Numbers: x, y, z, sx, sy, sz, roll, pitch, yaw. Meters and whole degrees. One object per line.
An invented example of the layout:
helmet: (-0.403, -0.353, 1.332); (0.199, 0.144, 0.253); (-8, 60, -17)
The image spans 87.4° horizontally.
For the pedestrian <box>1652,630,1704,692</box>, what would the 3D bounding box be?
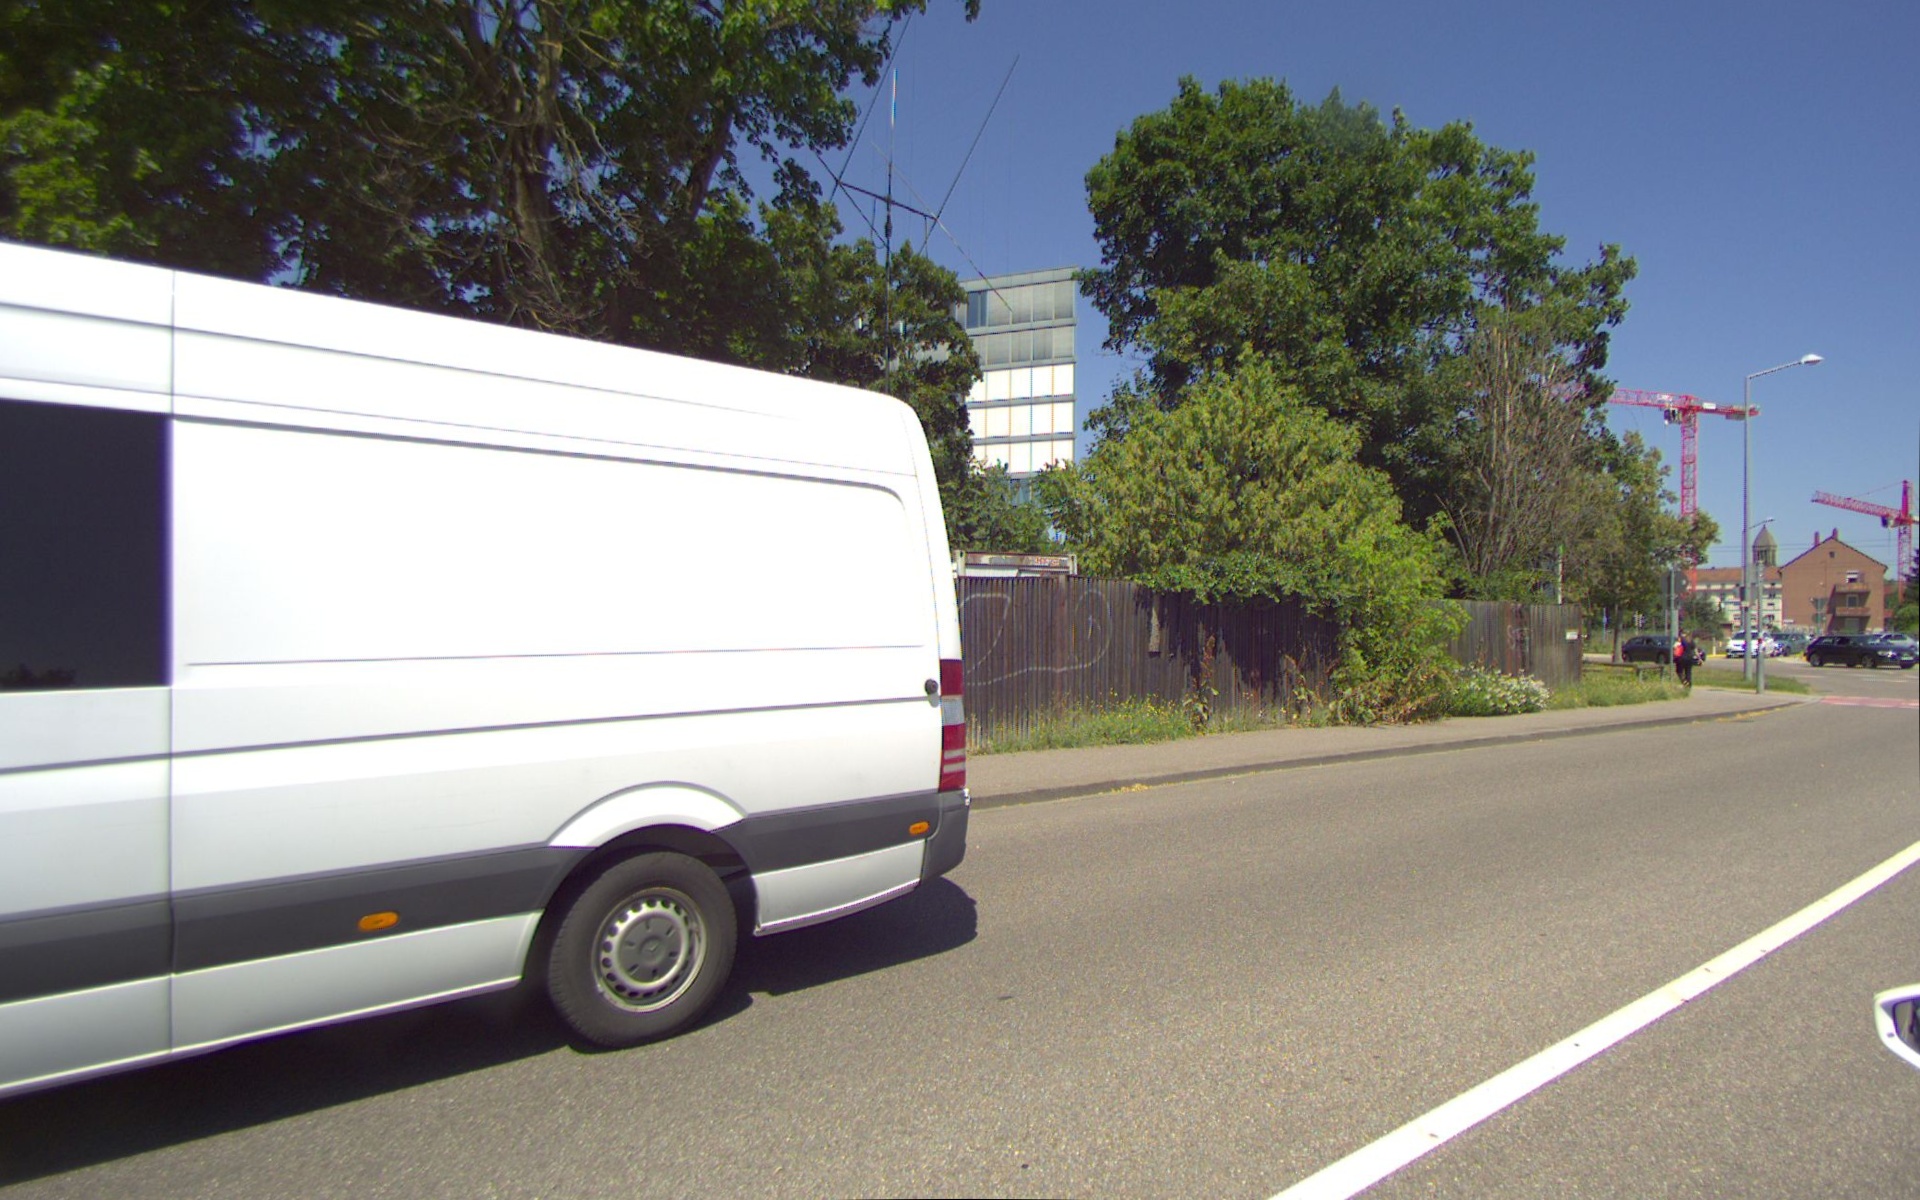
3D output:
pedestrian: (18.884, 1.589, 26.436); (0.794, 1.584, 0.877); (1, 0, 10)

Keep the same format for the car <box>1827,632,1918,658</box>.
car: (57.927, 2.860, 63.792); (4.136, 1.520, 1.713); (1, -1, 3)

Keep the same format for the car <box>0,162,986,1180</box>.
car: (-3.140, 0.192, 3.254); (6.768, 2.572, 2.004); (2, -2, -38)

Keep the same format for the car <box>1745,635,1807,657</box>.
car: (48.753, 2.732, 60.015); (3.743, 1.253, 1.698); (2, -1, -31)

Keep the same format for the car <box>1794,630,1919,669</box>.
car: (38.294, 2.082, 42.841); (1.961, 1.461, 4.201); (1, -1, 0)

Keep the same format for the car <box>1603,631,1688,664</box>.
car: (33.393, 2.289, 49.065); (1.959, 1.461, 4.221); (1, -1, 12)

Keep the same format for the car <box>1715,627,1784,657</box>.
car: (44.781, 2.384, 56.932); (3.953, 1.570, 1.748); (2, -1, -30)
